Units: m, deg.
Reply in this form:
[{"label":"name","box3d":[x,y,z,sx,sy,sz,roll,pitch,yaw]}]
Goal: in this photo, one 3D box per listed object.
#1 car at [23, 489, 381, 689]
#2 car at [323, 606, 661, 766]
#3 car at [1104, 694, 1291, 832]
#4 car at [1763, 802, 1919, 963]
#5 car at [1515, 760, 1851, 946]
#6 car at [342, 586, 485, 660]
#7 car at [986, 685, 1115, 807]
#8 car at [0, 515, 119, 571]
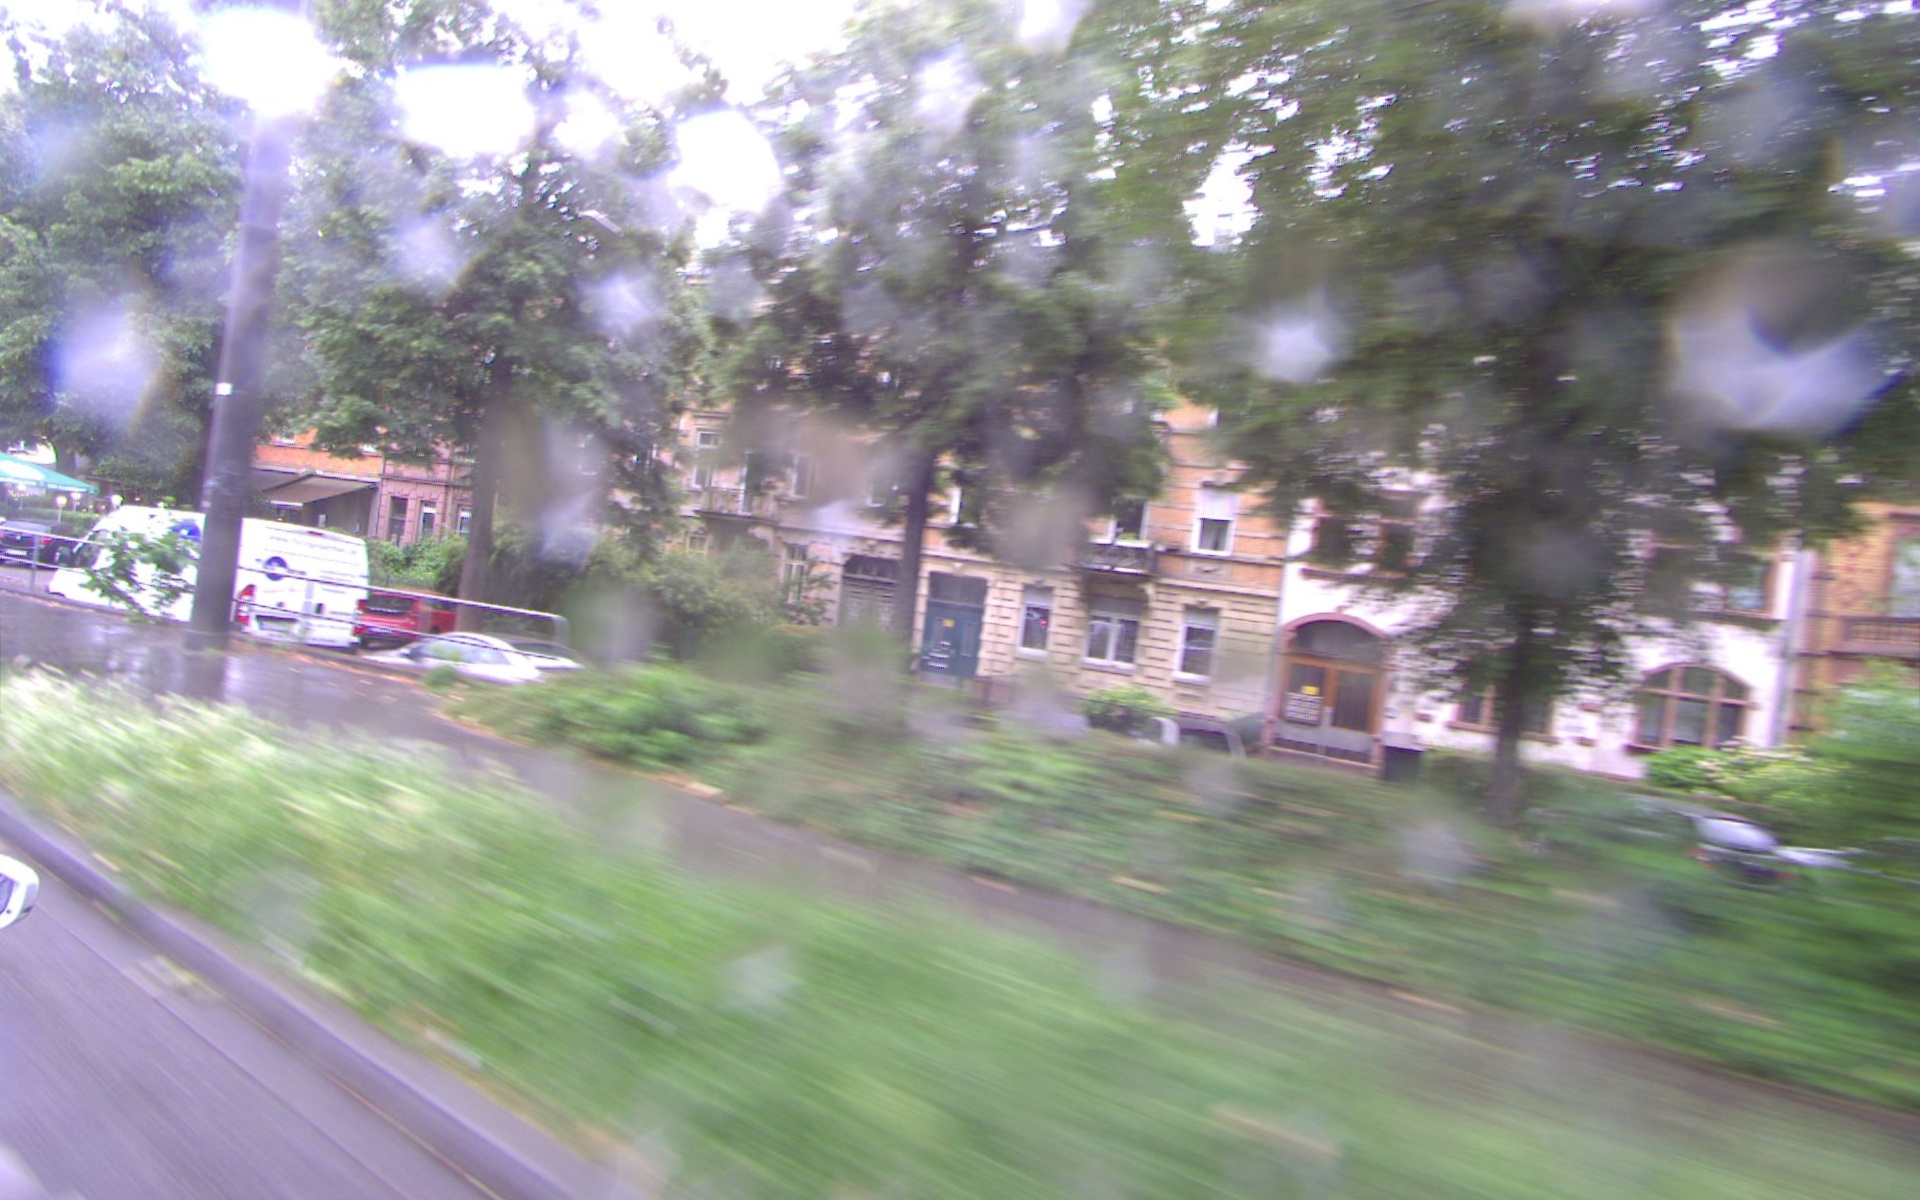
[{"label":"car","box3d":[-13.003,-0.236,17.220,5.672,2.564,2.185,8,1,23]},{"label":"car","box3d":[-6.672,1.134,14.366,4.272,1.509,1.827,8,1,21]},{"label":"car","box3d":[4.047,2.767,17.837,1.884,1.578,3.797,7,1,-7]},{"label":"car","box3d":[13.520,4.053,13.598,1.884,1.623,3.797,7,1,-7]},{"label":"car","box3d":[10.576,3.644,15.135,1.884,1.623,3.797,7,1,-7]},{"label":"car","box3d":[-13.244,0.495,24.634,1.680,1.455,3.666,7,0,-7]},{"label":"car","box3d":[1.518,2.538,18.361,1.695,1.402,4.121,7,0,-2]},{"label":"car","box3d":[-29.224,-1.820,32.346,1.863,1.497,3.983,7,1,-18]}]
